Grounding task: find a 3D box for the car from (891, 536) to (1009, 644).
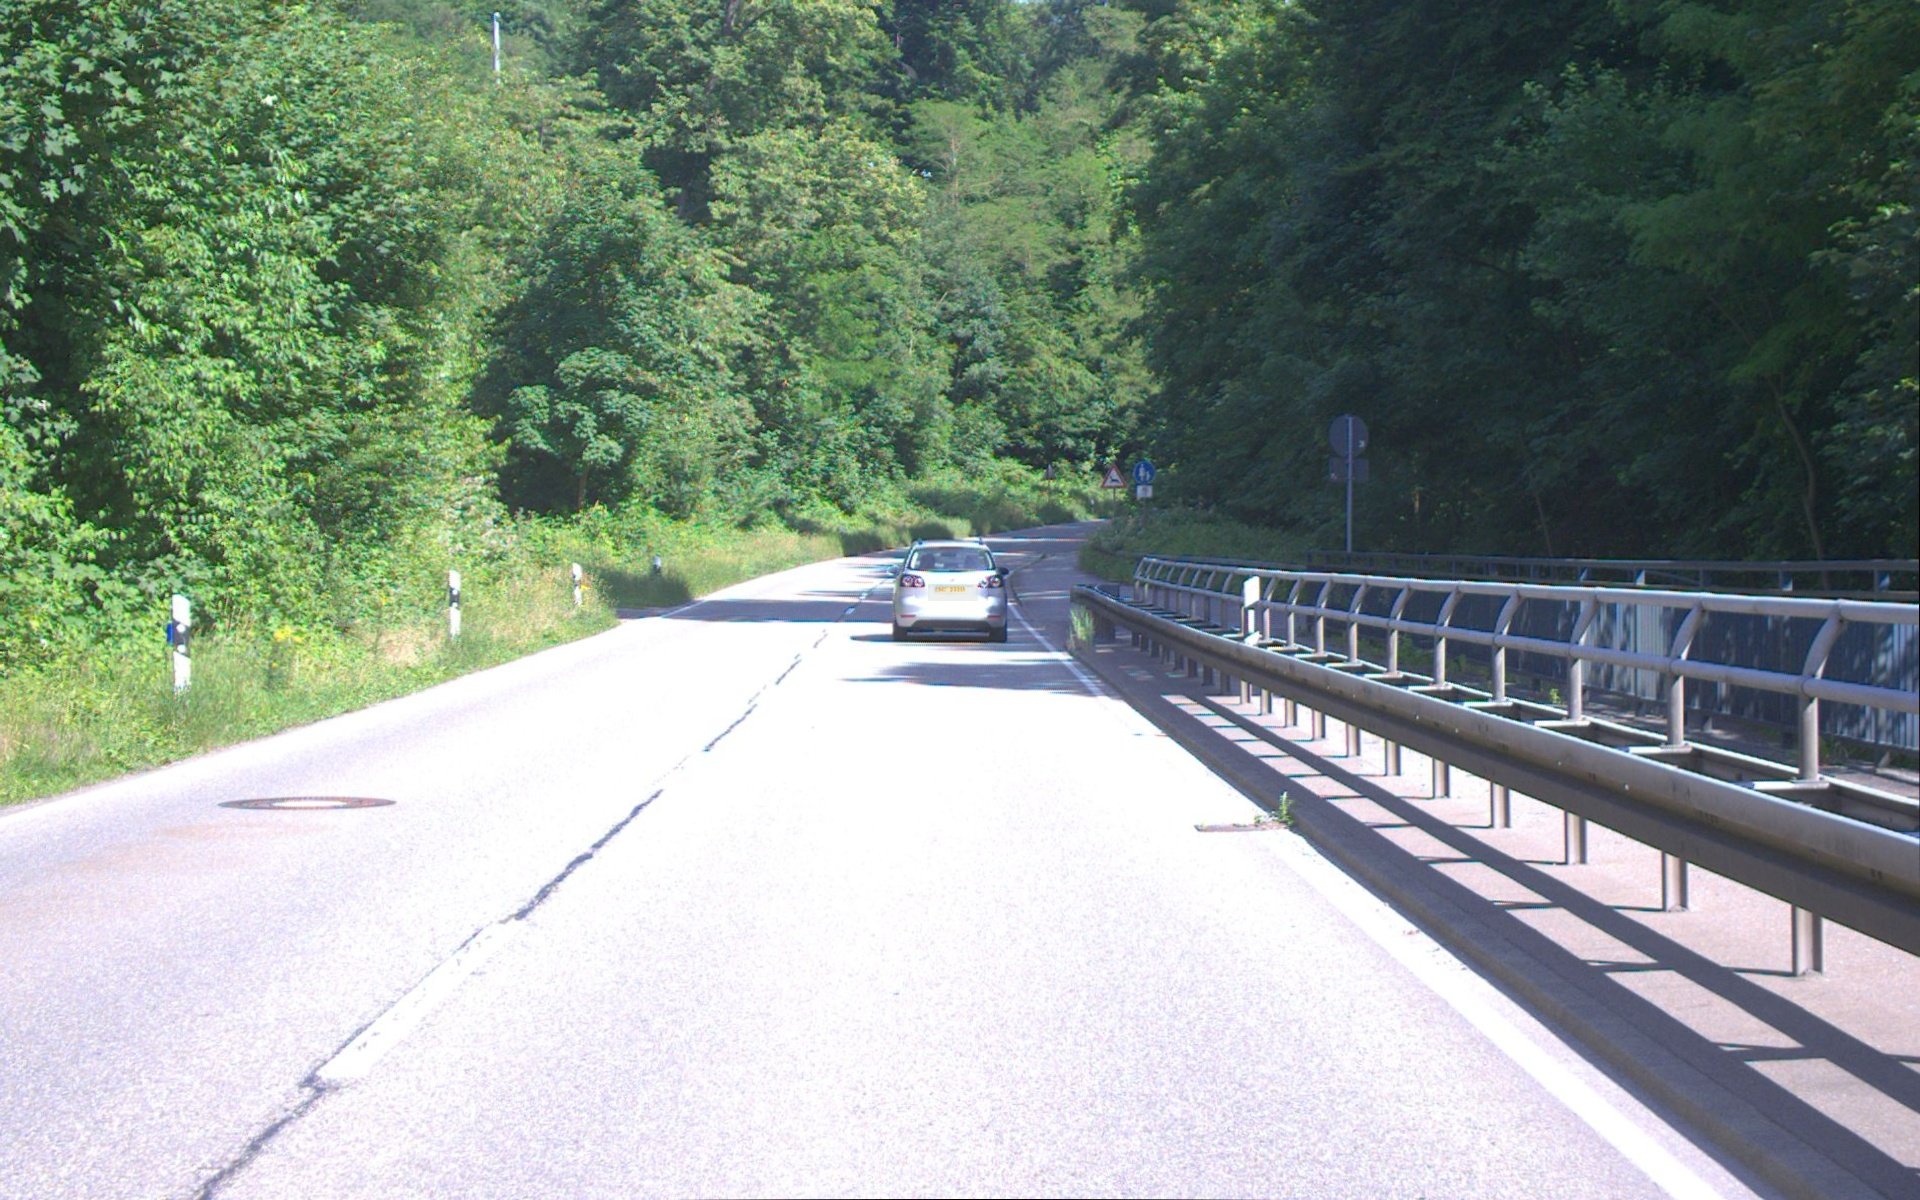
[{"bbox_3d":[-0.159,-0.186,53.575,1.751,1.514,4.160,1,2,0],"label":"car"}]
